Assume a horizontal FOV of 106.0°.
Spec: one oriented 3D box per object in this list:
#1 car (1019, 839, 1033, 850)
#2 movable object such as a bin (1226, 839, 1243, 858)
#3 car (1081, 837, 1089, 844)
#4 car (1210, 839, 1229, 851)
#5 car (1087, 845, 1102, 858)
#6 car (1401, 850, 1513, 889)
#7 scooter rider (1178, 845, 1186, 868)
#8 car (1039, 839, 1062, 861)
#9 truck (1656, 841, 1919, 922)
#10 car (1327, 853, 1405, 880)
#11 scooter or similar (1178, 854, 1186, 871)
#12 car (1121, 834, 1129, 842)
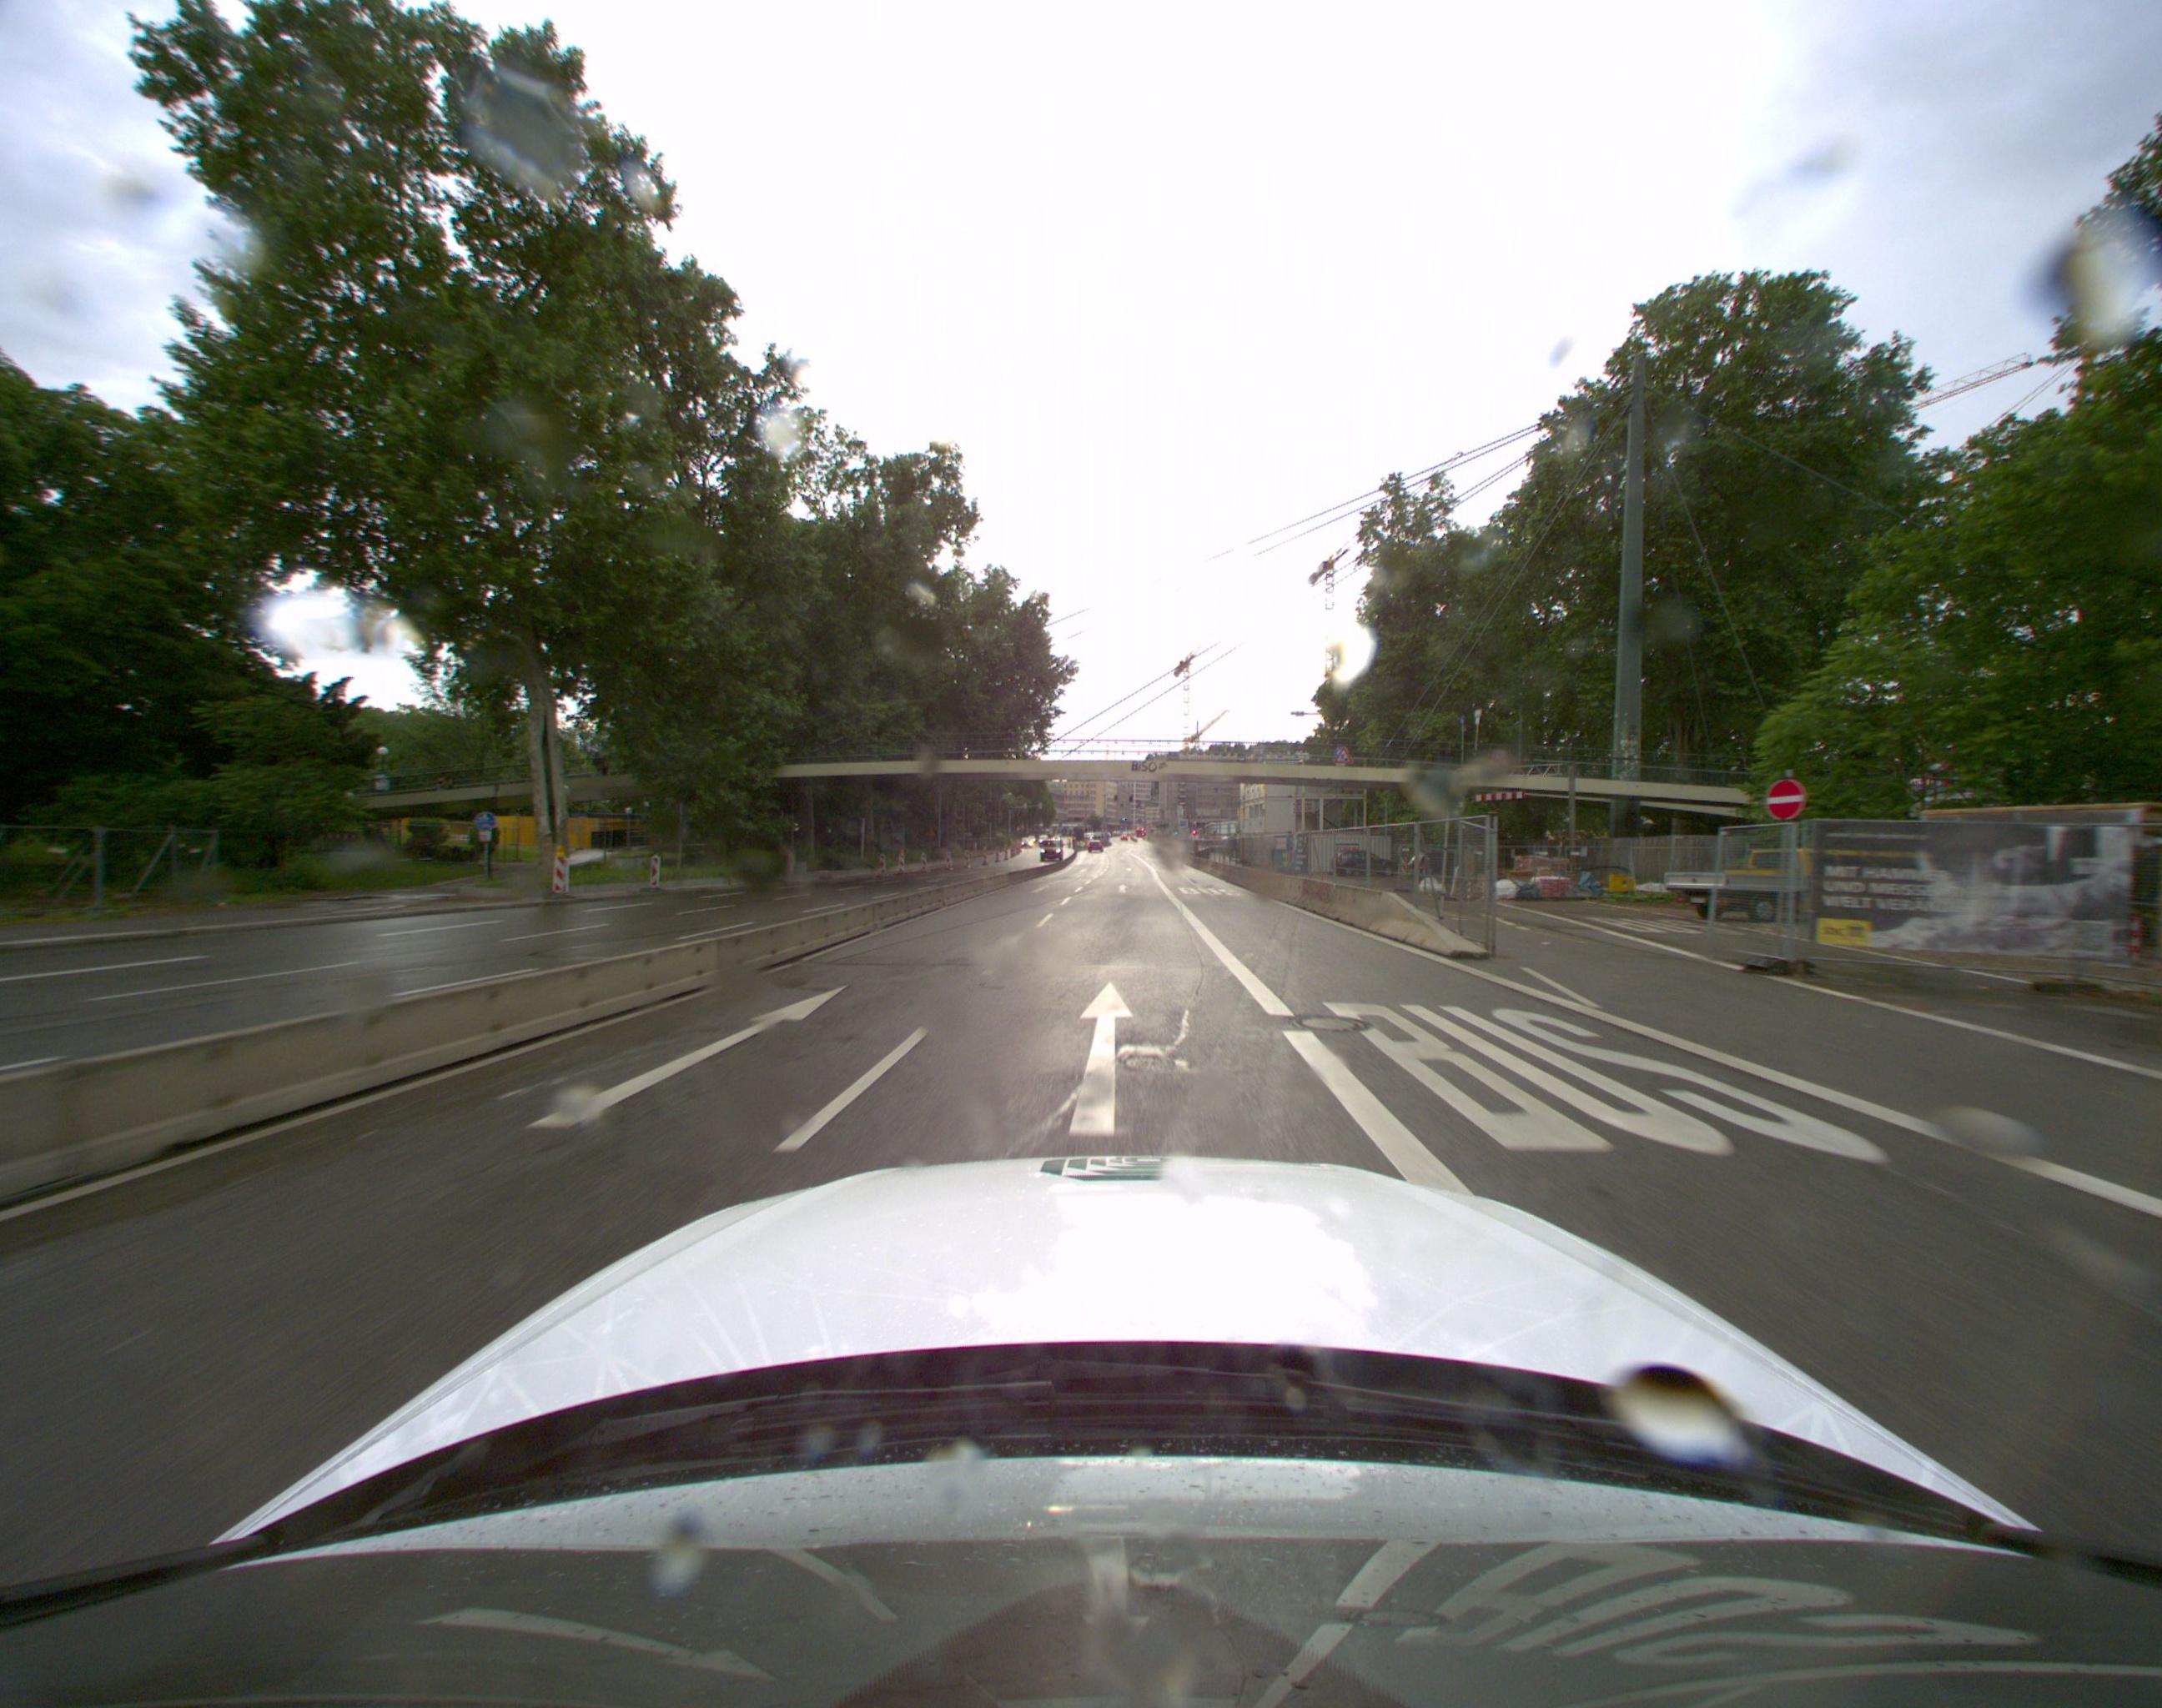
[{"bbox_3d":[-8.847,-1.538,130.995,2.029,1.653,4.309,0,2,-7],"label":"car"},{"bbox_3d":[18.457,-0.695,97.877,1.462,2.202,1.256,0,2,-22],"label":"movable object such as a bin"},{"bbox_3d":[0.997,-3.477,208.961,1.896,1.528,4.176,-1,-1,0],"label":"car"},{"bbox_3d":[22.982,-1.486,135.166,1.907,1.975,5.158,1,1,-3],"label":"car"},{"bbox_3d":[1.694,-0.287,102.716,1.896,1.528,4.176,-1,-1,0],"label":"car"},{"bbox_3d":[17.960,0.711,39.034,4.488,1.728,1.998,1,0,-3],"label":"car"},{"bbox_3d":[8.040,0.207,64.763,0.594,1.785,0.998,1,1,5],"label":"scooter rider"},{"bbox_3d":[-2.936,-0.380,77.466,2.027,1.936,5.036,-1,-1,-4],"label":"car"},{"bbox_3d":[18.718,0.727,21.757,5.143,2.014,2.405,1,-1,-4],"label":"truck"},{"bbox_3d":[18.715,0.809,53.622,4.527,1.628,1.788,1,1,0],"label":"car"},{"bbox_3d":[8.040,0.659,64.789,0.594,1.319,1.670,1,1,5],"label":"scooter or similar"},{"bbox_3d":[11.189,-3.998,205.835,1.985,2.014,4.004,-1,-1,4],"label":"car"}]
